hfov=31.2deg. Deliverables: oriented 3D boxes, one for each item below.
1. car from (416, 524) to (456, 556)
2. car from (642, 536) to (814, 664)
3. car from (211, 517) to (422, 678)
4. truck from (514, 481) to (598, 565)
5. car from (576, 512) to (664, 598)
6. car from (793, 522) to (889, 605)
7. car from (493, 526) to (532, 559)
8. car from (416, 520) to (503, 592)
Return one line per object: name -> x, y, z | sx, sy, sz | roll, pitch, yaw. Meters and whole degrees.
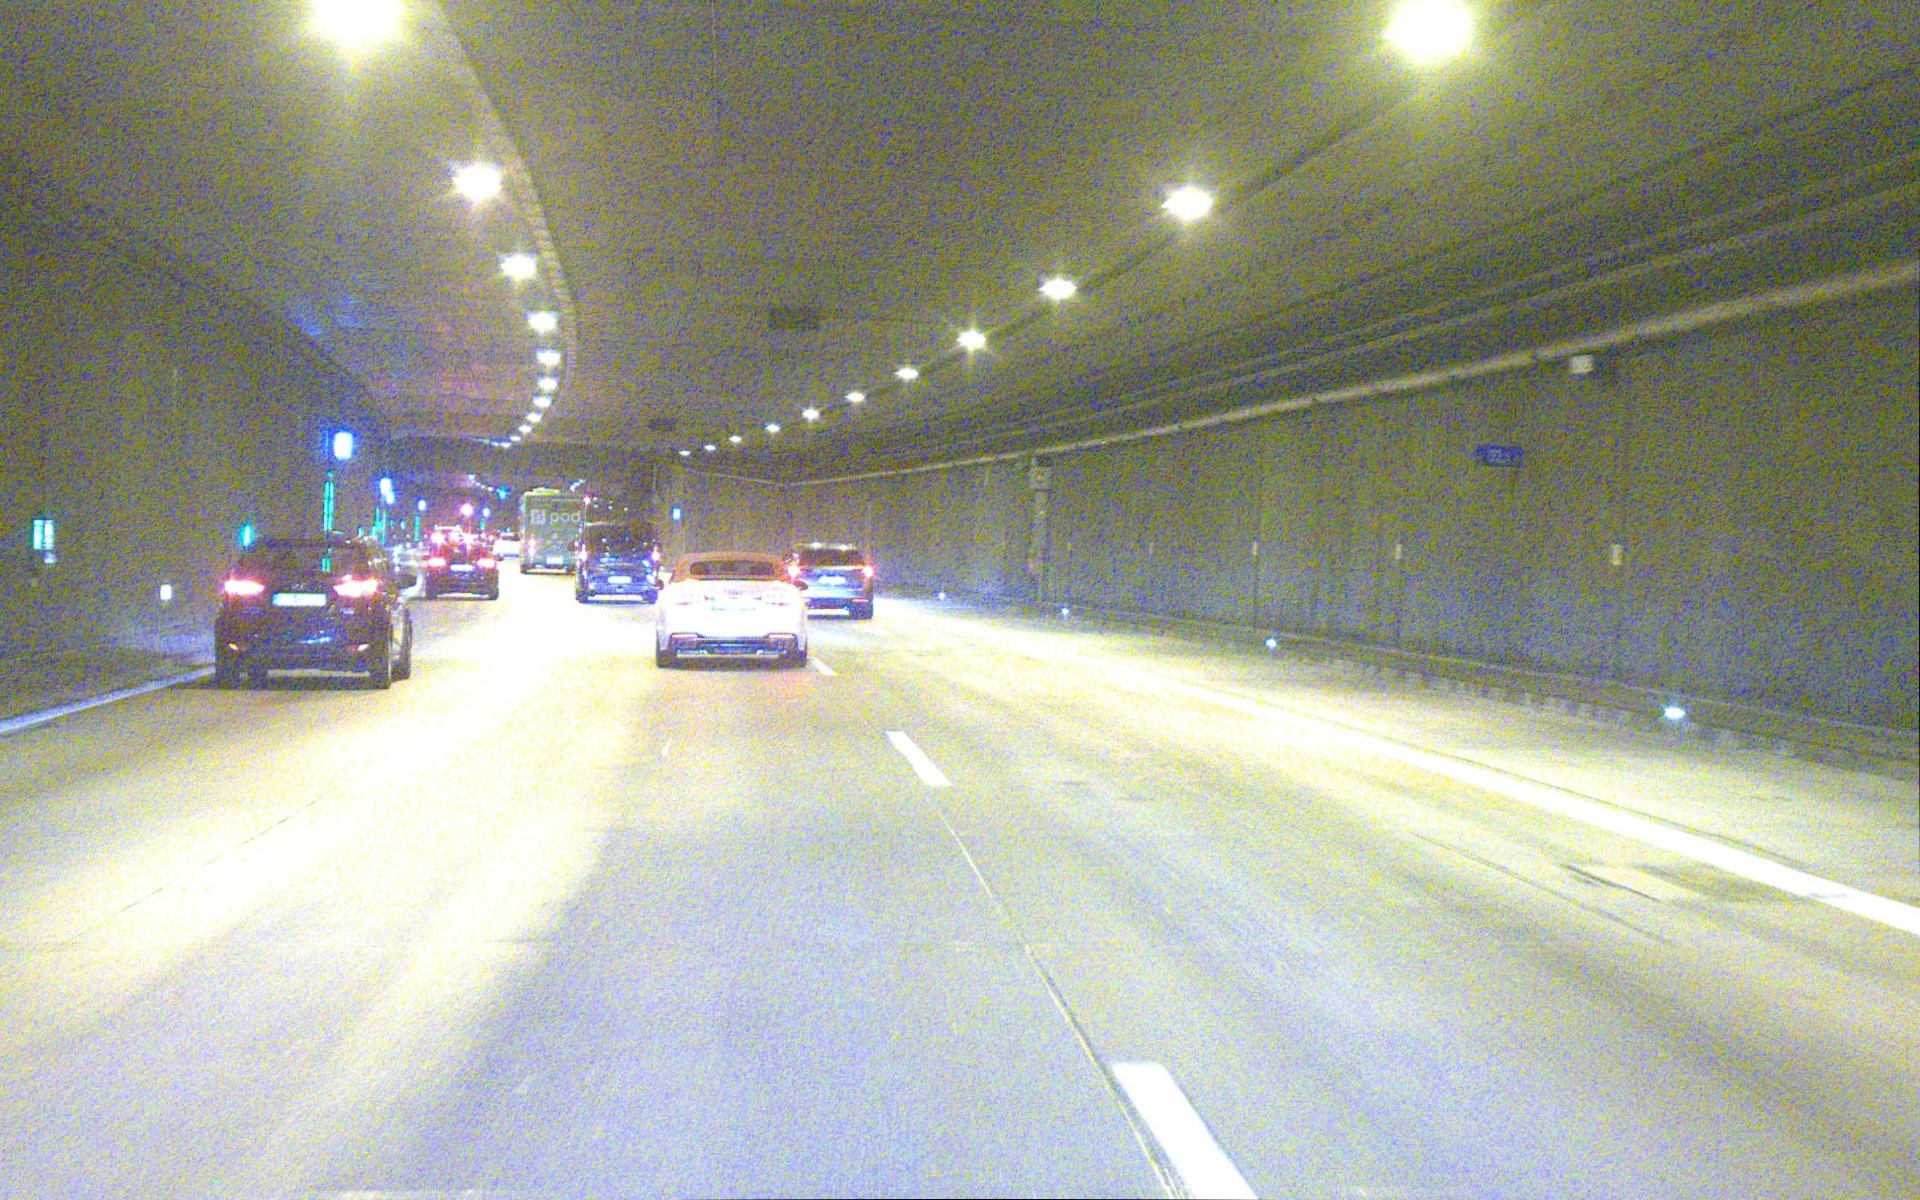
car -> -26.666, -3.042, 175.016 | 1.993, 1.525, 4.001 | 1, 0, -8
car -> -2.824, -0.035, 42.290 | 1.993, 1.478, 4.001 | 1, 1, -3
car -> -6.696, -0.055, 36.108 | 1.785, 1.593, 3.802 | 0, 1, -5
truck -> -16.016, -3.070, 135.737 | 3.082, 3.102, 10.032 | 2, 2, -8
car -> -8.032, -1.092, 81.467 | 1.993, 1.965, 4.001 | 0, 1, -5
car -> -2.385, -0.724, 68.073 | 1.839, 1.597, 4.000 | 0, 1, -3
car -> -24.486, -3.119, 188.127 | 1.993, 1.748, 4.001 | 1, 0, -6
car -> -12.214, -1.079, 84.042 | 1.800, 1.678, 4.001 | 1, 1, -4
